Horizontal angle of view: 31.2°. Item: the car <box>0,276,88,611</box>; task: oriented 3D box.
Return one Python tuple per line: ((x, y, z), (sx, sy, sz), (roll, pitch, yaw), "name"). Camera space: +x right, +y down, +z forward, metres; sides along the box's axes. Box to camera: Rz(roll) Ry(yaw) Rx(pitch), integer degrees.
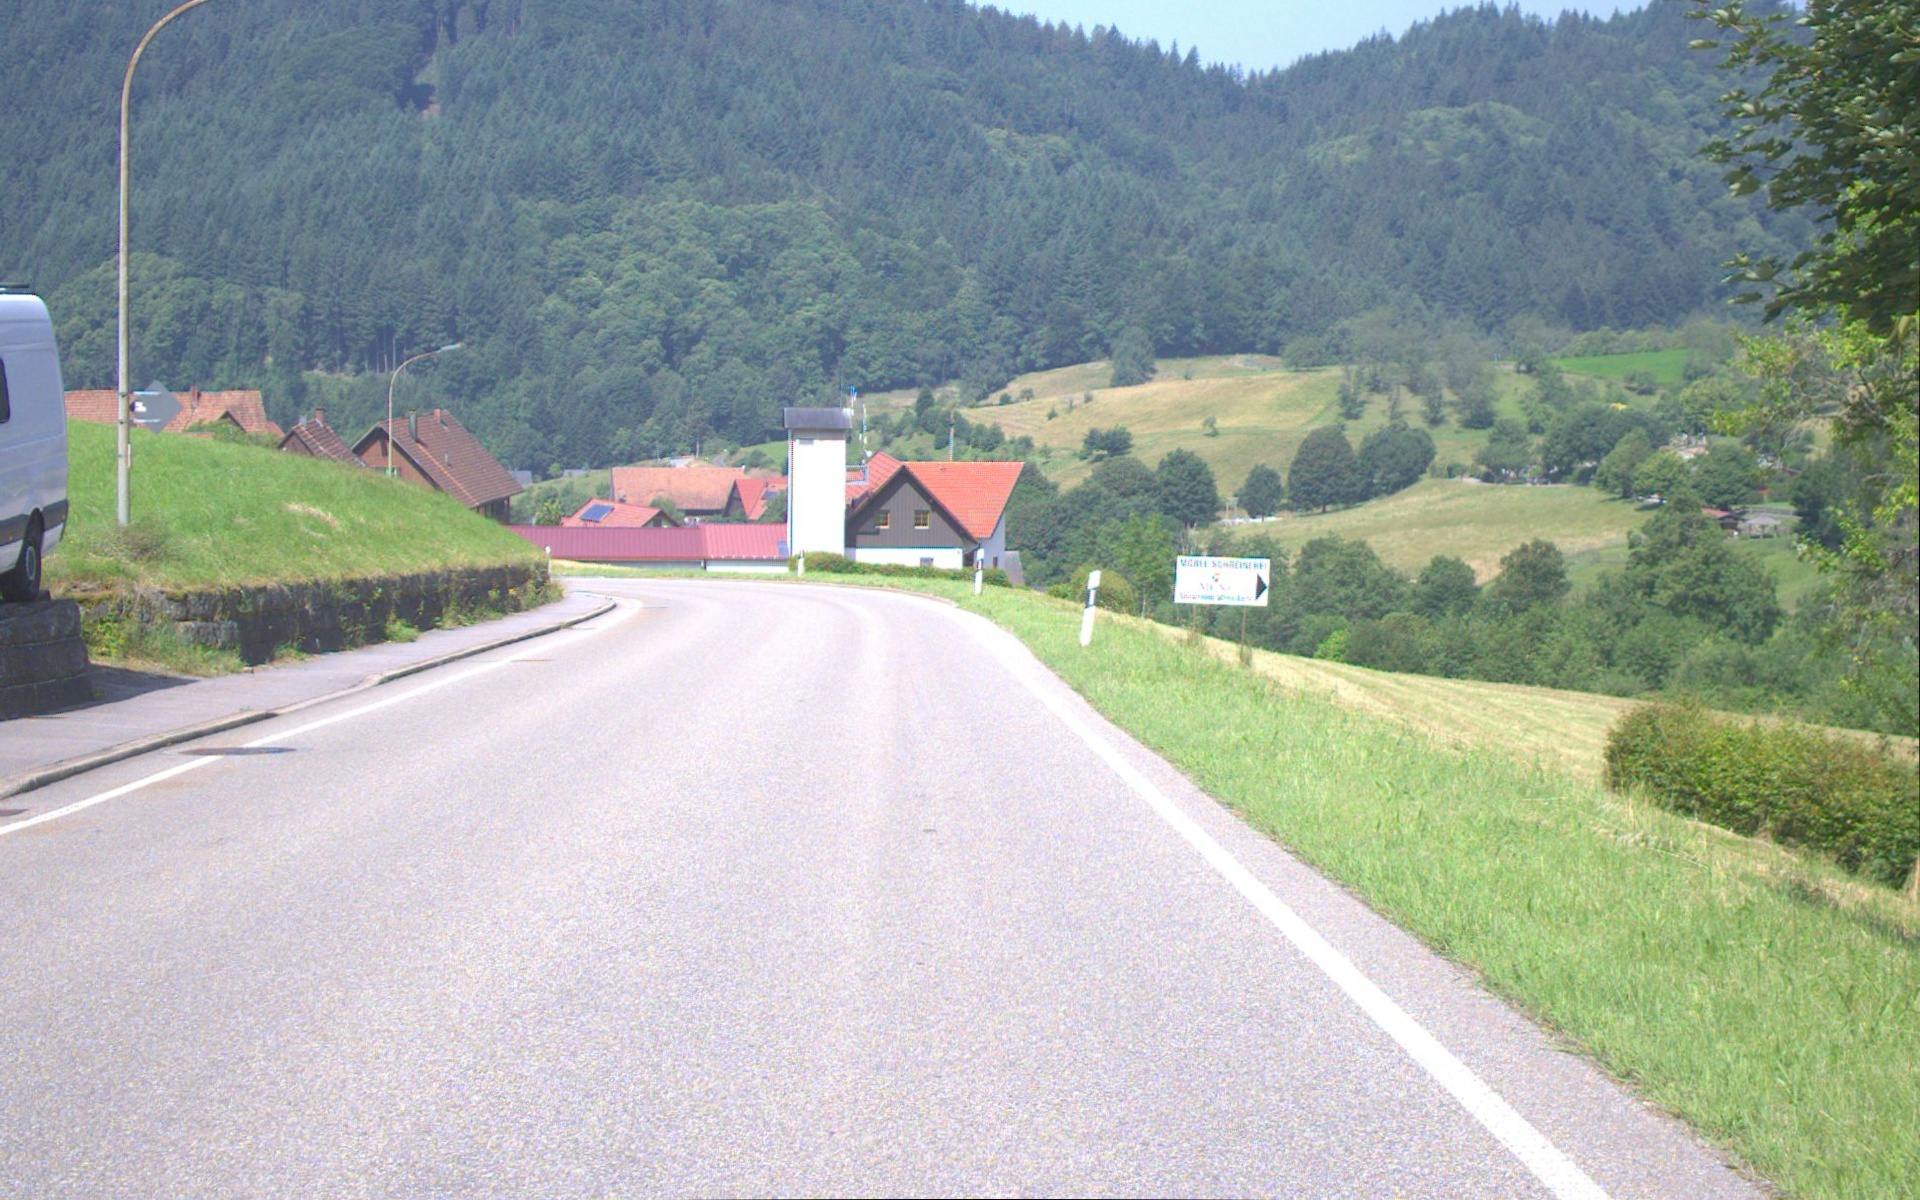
((-8.698, -1.245, 27.048), (2.067, 2.679, 7.176), (2, 4, -2), "car")
